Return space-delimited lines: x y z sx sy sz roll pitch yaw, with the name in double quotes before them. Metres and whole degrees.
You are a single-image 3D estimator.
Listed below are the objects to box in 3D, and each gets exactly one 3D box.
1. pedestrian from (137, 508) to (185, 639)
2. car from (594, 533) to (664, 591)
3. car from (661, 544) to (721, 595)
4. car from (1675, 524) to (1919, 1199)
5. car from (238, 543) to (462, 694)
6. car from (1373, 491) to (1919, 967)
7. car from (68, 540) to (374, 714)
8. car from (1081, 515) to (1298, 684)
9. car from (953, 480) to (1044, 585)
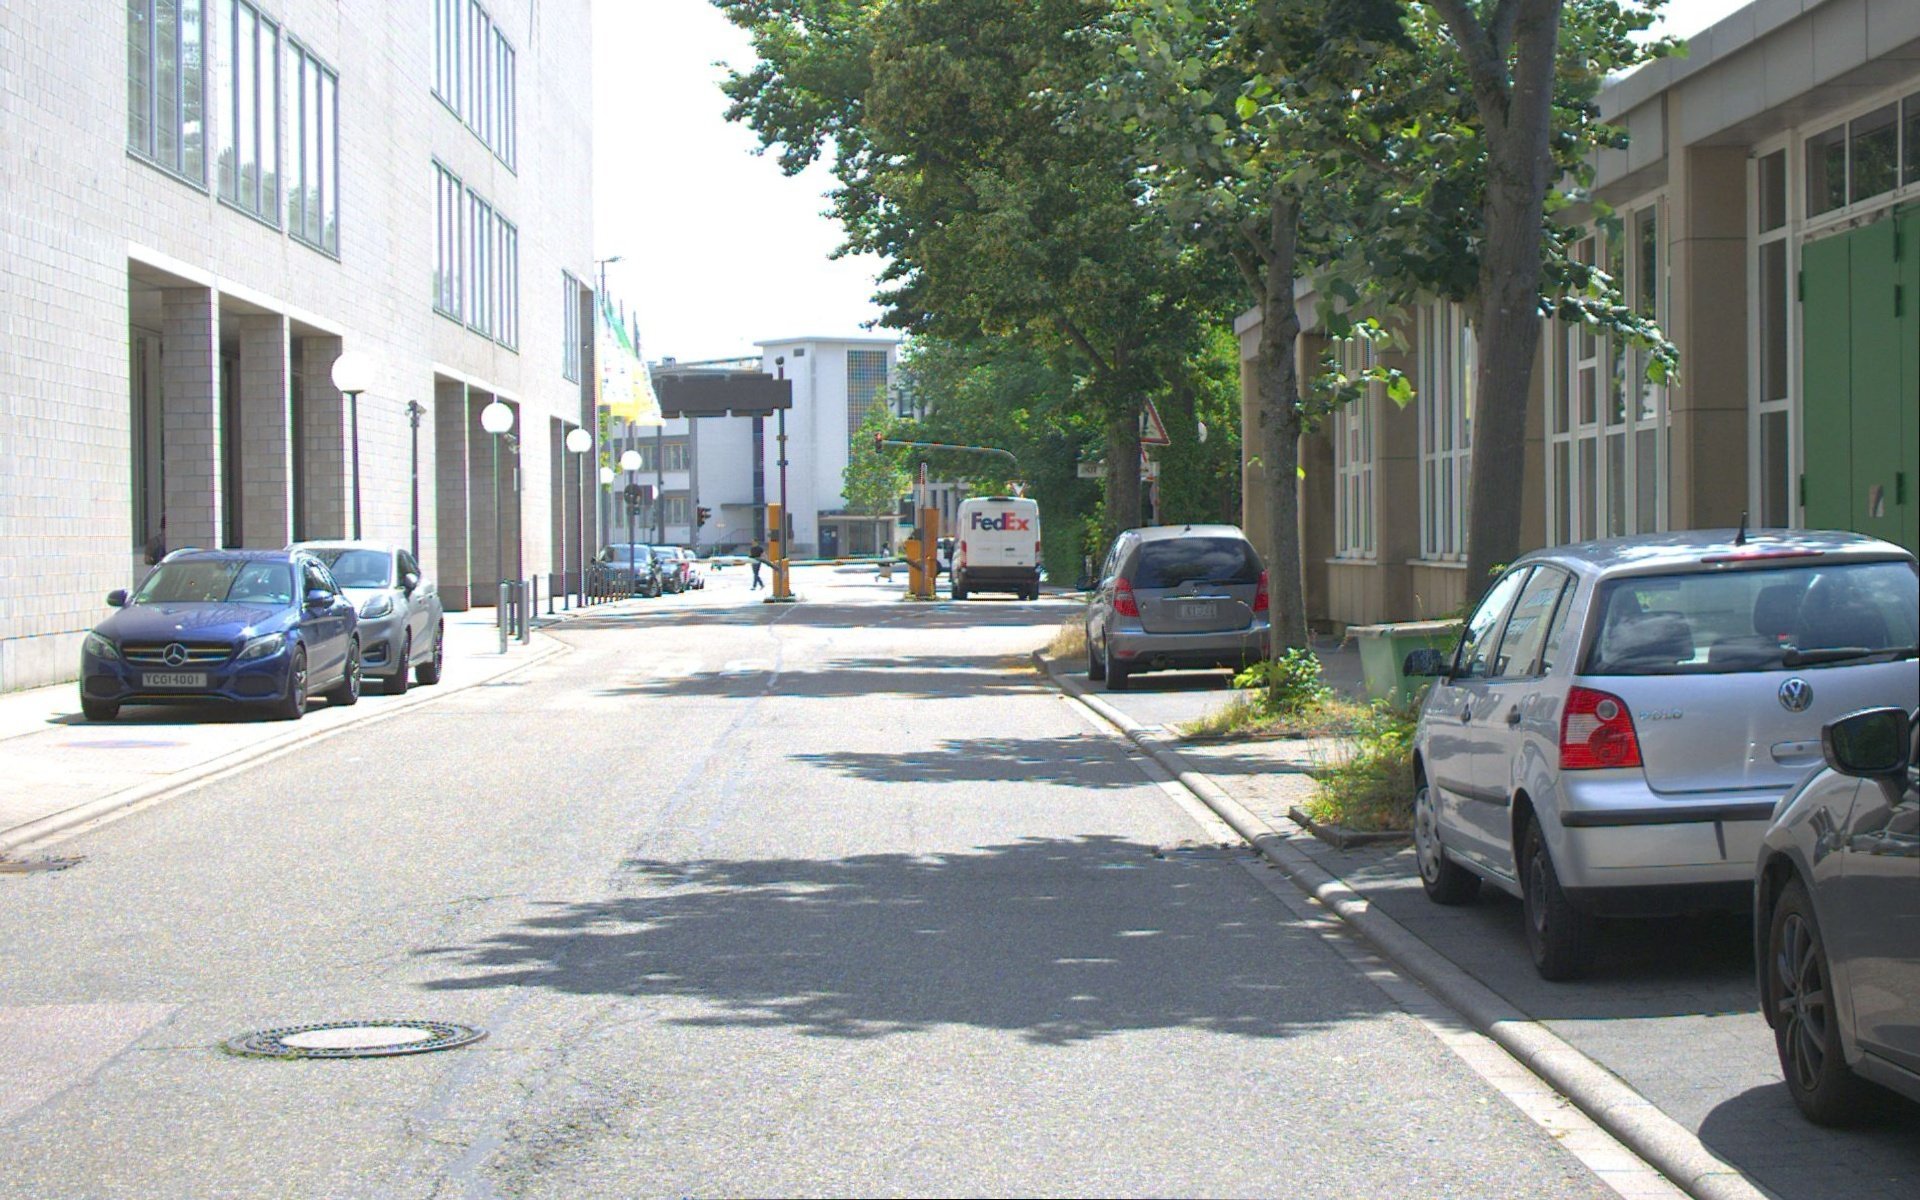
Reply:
"pedestrian" -11.352 -0.370 48.863 0.511 1.834 0.735 -1 -1 -2
"car" -9.194 -1.033 95.750 1.646 1.493 3.729 -1 -1 -1
"car" -8.406 -0.937 107.551 1.646 1.493 3.729 -1 -1 -1
"car" 2.940 0.560 7.298 1.780 1.471 4.462 -2 1 -1
"car" -6.298 0.155 35.893 1.631 1.479 4.178 0 1 -1
"car" 2.627 0.382 13.001 1.616 1.533 3.780 0 1 -1
"car" -6.460 0.201 30.504 1.766 1.423 4.234 0 1 0
"car" 2.285 -0.039 35.150 1.858 1.568 4.000 -2 1 -1
"car" 0.933 -1.693 85.959 2.083 2.531 4.316 0 1 -1
